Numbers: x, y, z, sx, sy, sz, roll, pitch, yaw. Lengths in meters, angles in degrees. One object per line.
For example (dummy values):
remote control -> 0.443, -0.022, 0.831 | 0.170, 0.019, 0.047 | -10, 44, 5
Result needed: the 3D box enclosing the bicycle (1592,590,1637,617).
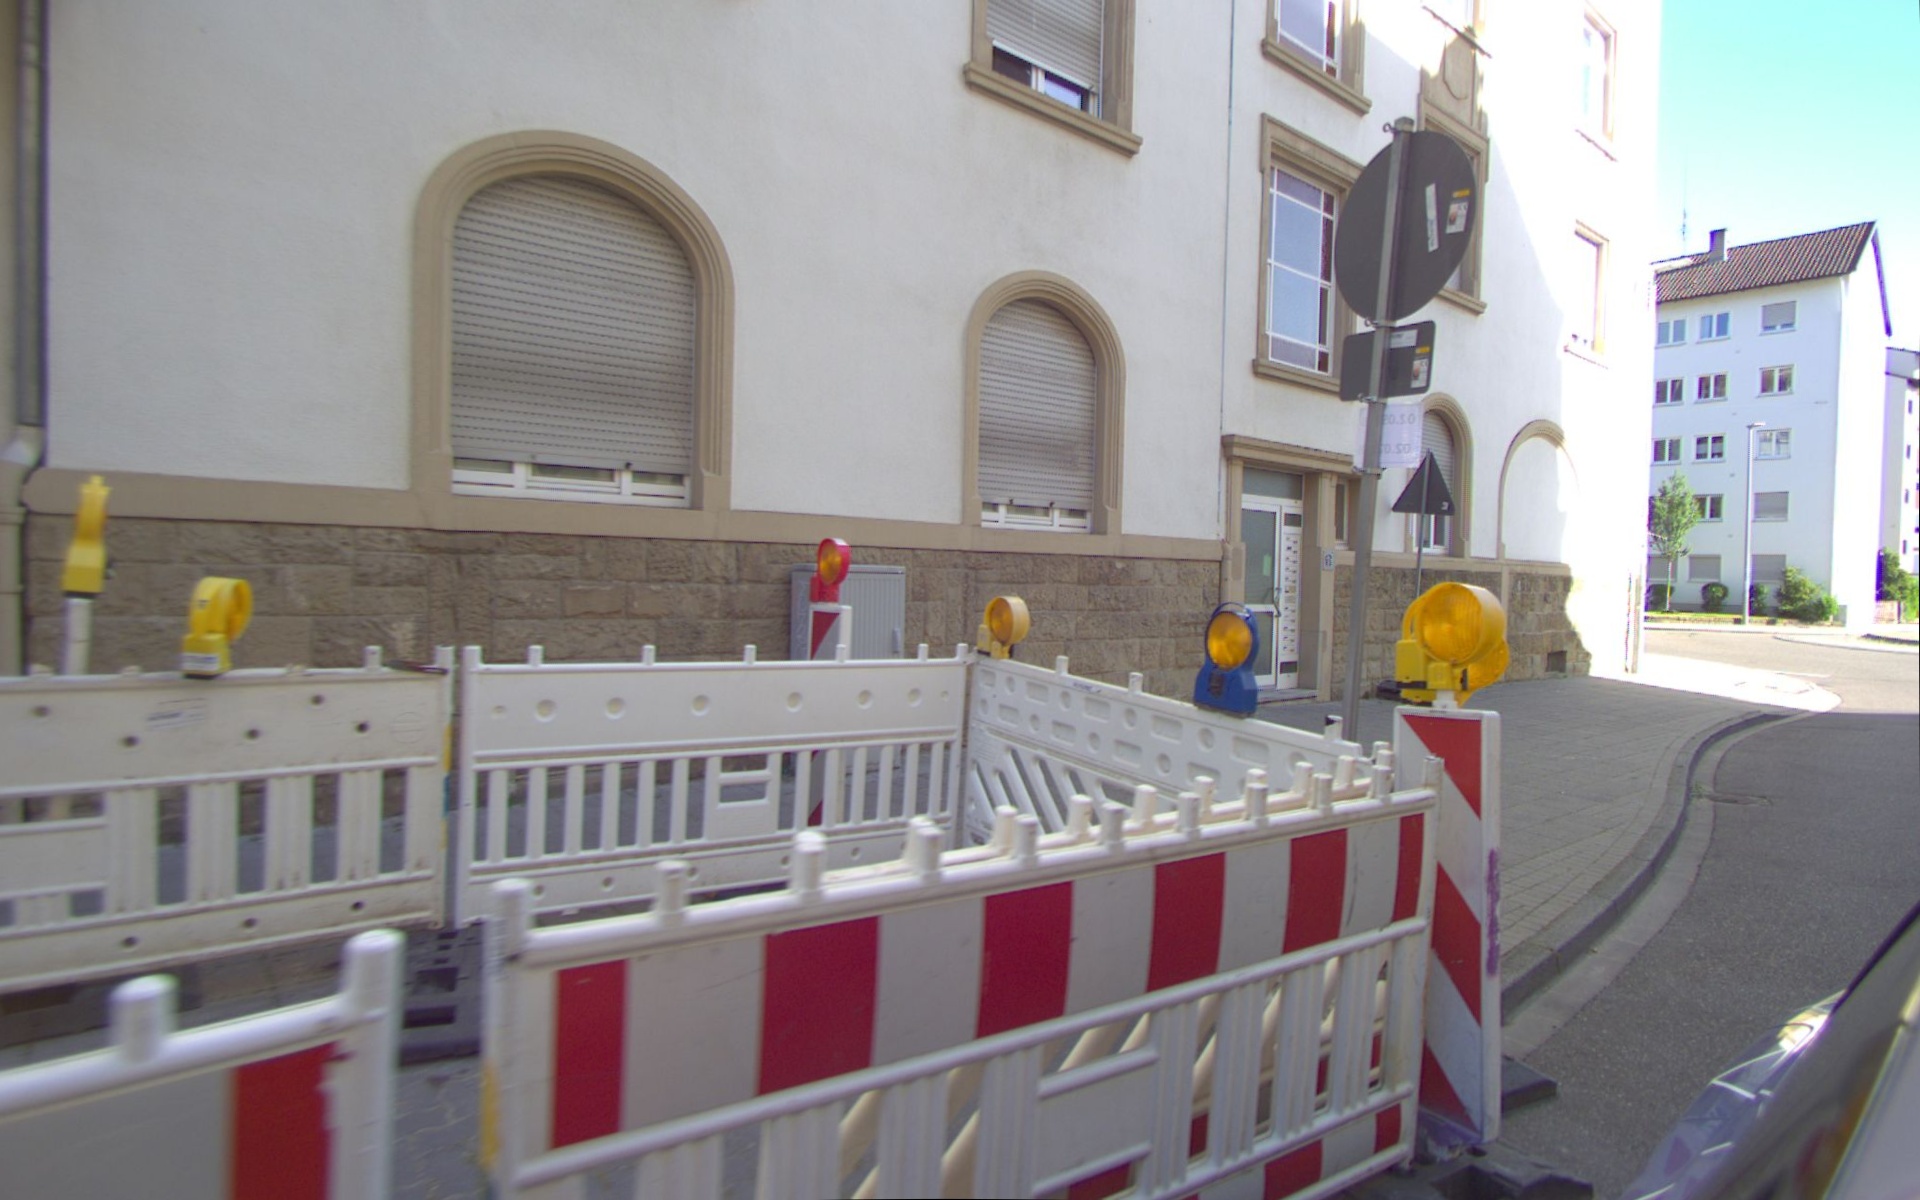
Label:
bicycle -> 29.106, 0.135, 45.028 | 1.620, 1.091, 0.378 | 4, 5, 44
